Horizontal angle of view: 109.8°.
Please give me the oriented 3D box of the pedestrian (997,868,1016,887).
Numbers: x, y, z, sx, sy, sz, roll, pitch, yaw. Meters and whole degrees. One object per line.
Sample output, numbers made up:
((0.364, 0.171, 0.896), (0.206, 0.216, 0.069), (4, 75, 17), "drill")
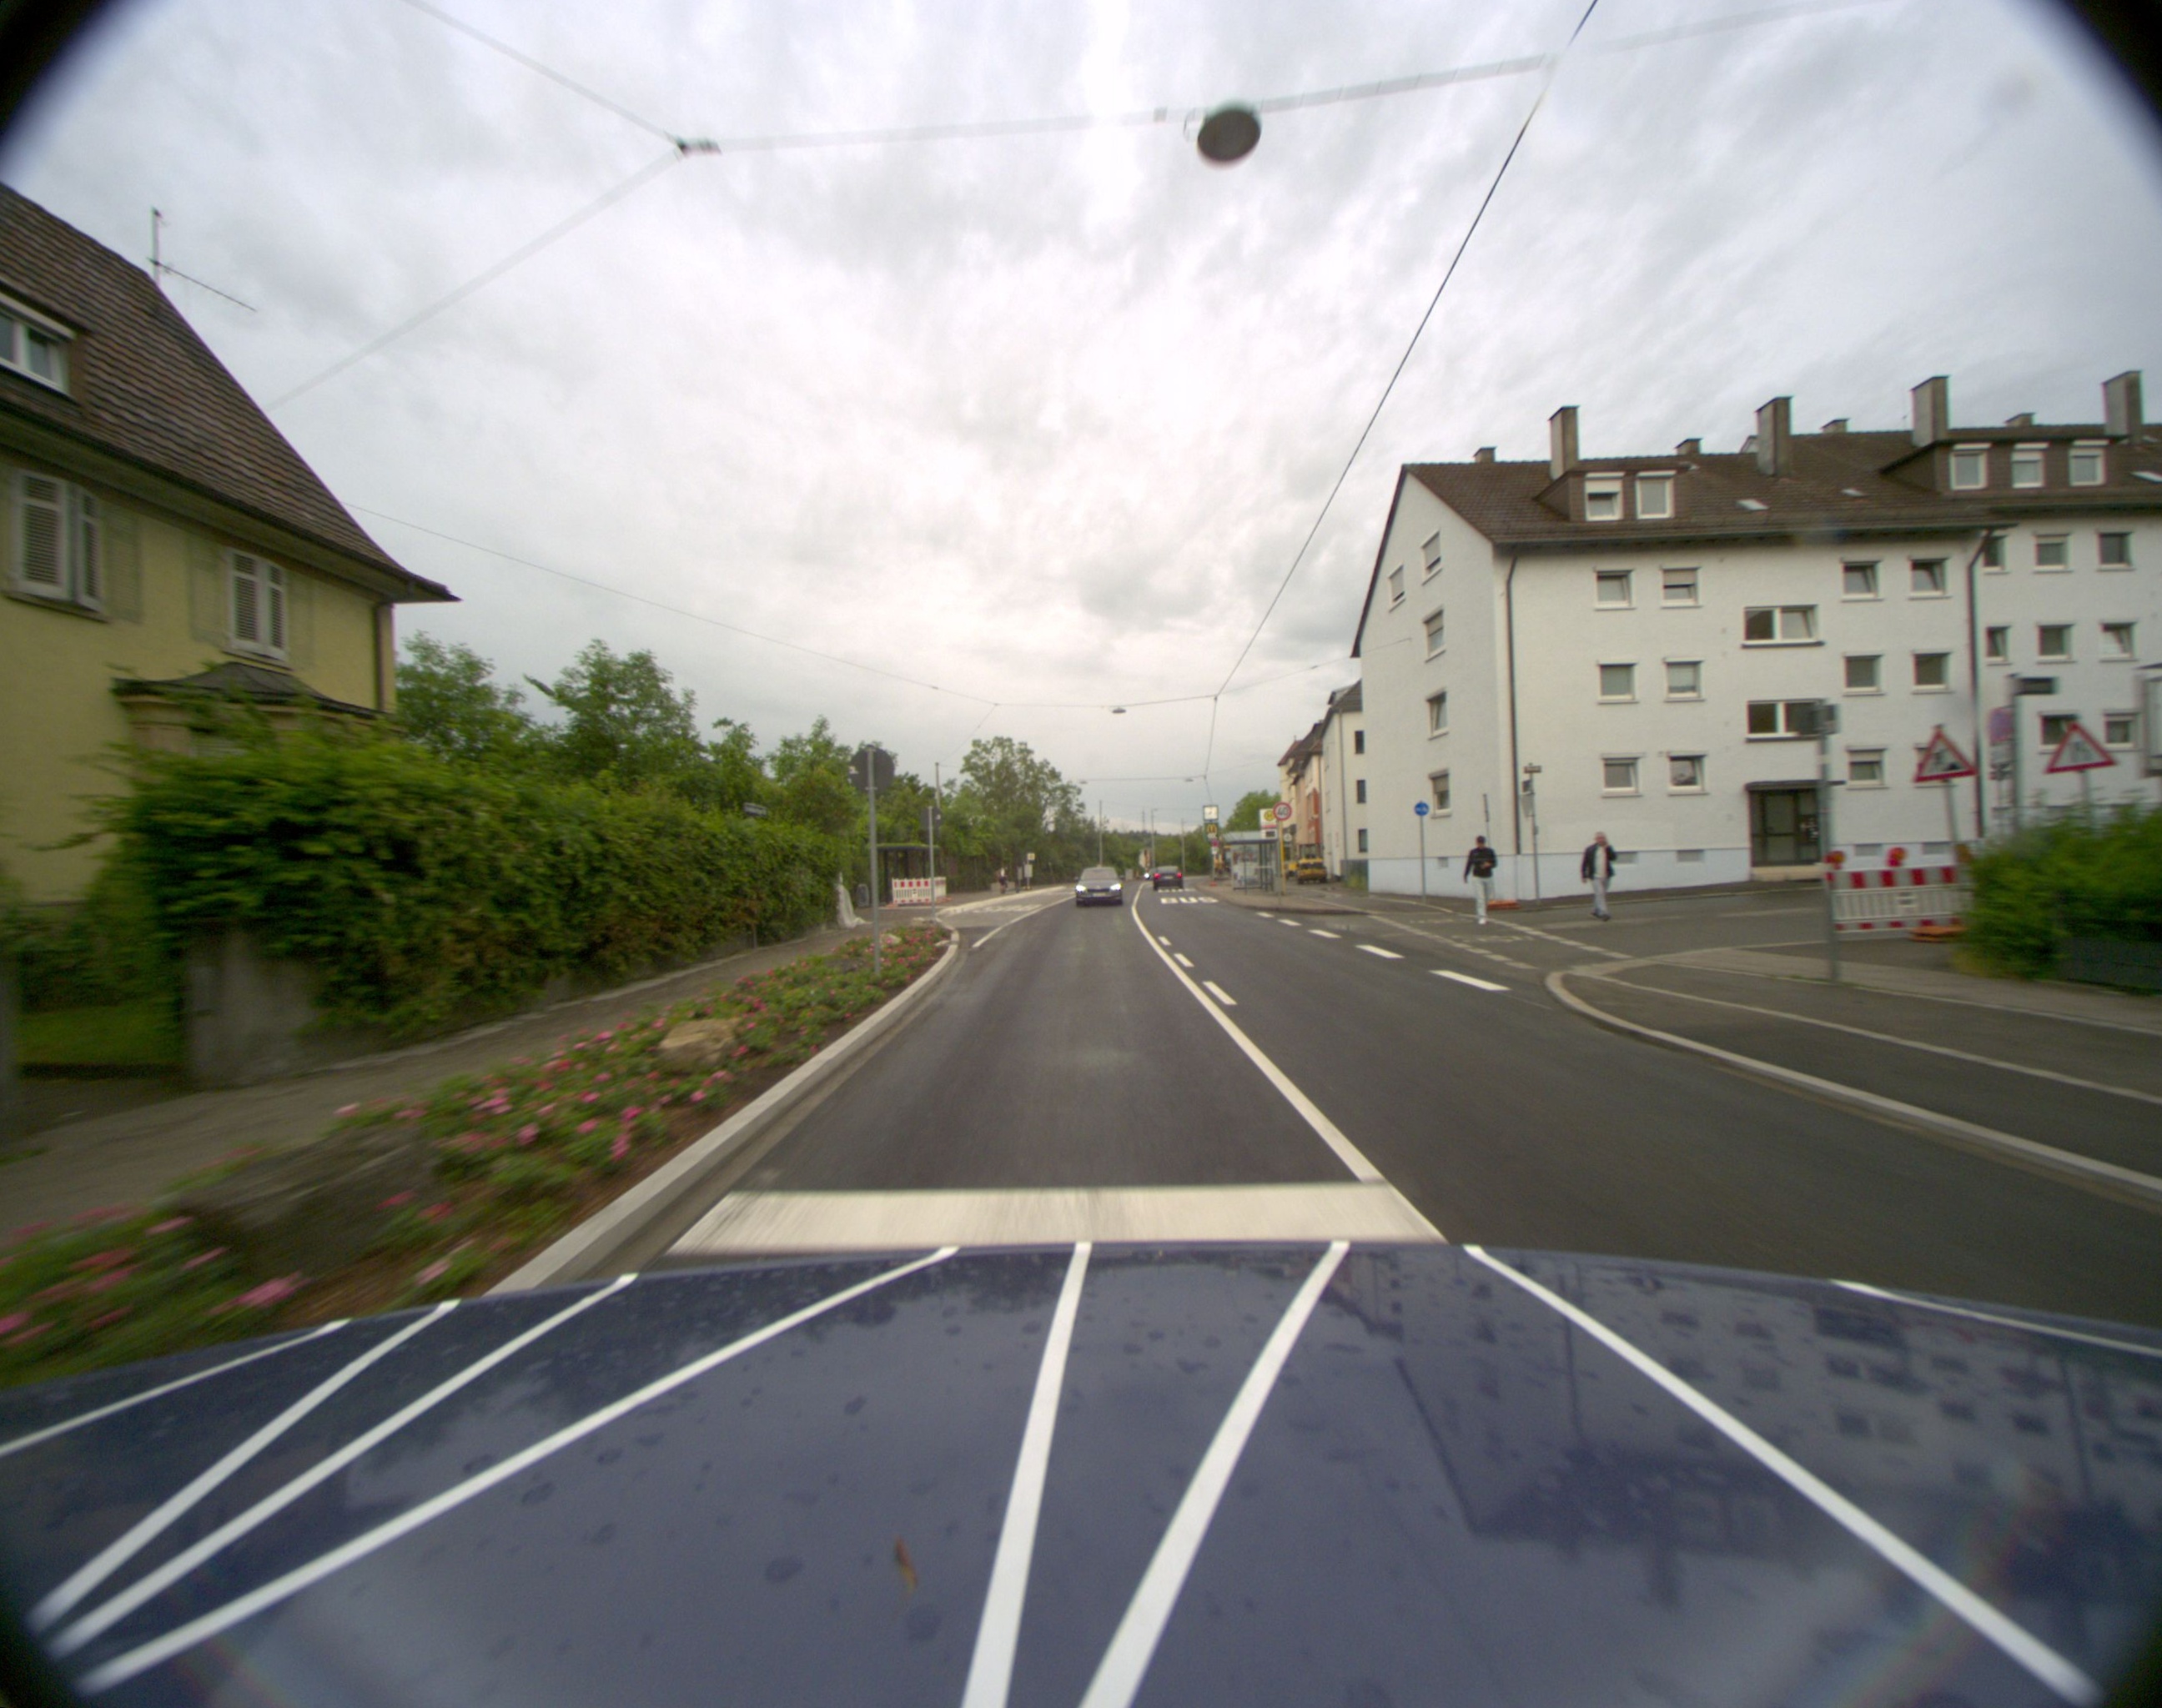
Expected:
((-5.338, 1.716, 54.650), (1.069, 1.322, 0.808), (-2, 0, -31), "pedestrian")

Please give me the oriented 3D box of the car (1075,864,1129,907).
((0.826, 1.157, 28.876), (1.837, 1.429, 4.001), (-3, -1, 2), "car")

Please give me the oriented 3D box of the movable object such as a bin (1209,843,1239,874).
((15.403, 0.476, 81.645), (2.828, 3.093, 4.639), (-2, -1, 13), "movable object such as a bin")

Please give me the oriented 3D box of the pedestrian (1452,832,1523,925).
((8.625, 0.513, 16.168), (0.864, 1.871, 1.044), (-2, 0, -1), "pedestrian")

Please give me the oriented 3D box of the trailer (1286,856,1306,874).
((17.313, 0.865, 61.276), (1.326, 1.390, 4.000), (-3, -1, 13), "trailer")

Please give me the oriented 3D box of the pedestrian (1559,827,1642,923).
((10.422, 0.414, 15.280), (0.808, 1.810, 1.116), (-3, -1, 0), "pedestrian")

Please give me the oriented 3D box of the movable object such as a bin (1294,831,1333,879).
((15.127, 0.100, 49.657), (2.132, 2.789, 4.984), (-4, -1, 15), "movable object such as a bin")

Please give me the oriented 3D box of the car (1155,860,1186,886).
((5.591, 1.159, 47.855), (1.787, 1.444, 4.392), (-2, 0, 6), "car")

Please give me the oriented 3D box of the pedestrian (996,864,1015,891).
((-4.524, 1.401, 45.534), (0.922, 1.537, 0.543), (-2, 0, -31), "pedestrian")

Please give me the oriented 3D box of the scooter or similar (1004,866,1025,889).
((-3.979, 1.427, 45.585), (1.245, 1.307, 0.231), (-2, 0, -34), "scooter or similar")

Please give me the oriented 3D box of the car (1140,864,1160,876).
((8.511, 1.988, 93.810), (1.604, 1.294, 3.718), (-4, -2, 18), "car")

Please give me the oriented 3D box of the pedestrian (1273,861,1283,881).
((15.812, 1.351, 60.991), (0.603, 1.519, 1.039), (-4, -1, 11), "pedestrian")
